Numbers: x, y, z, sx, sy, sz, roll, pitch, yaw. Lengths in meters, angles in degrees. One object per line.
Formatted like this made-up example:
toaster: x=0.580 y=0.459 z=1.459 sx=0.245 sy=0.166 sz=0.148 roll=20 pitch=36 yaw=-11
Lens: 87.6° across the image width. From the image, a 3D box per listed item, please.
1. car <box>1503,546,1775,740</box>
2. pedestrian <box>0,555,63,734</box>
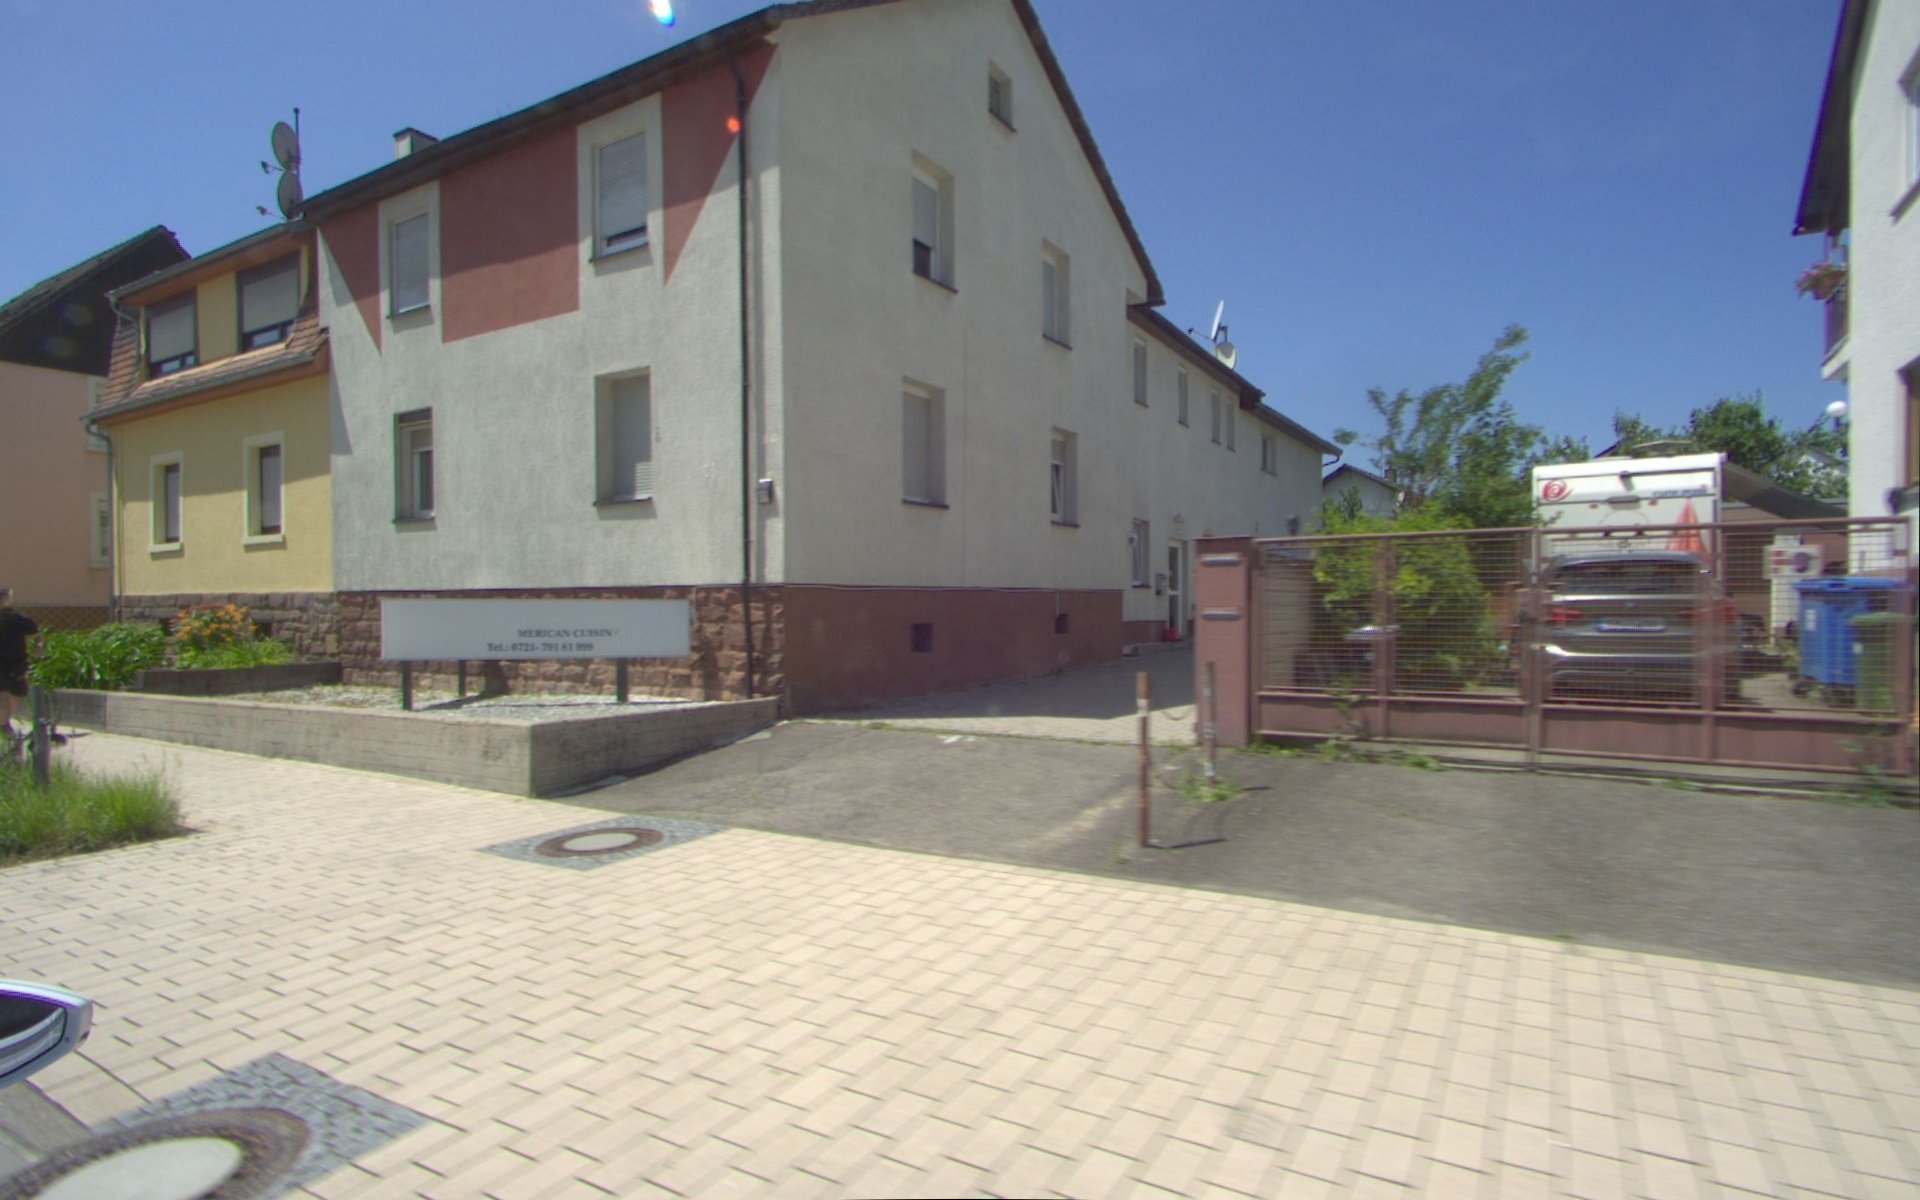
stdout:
car: x=6.996 y=0.358 z=10.593 sx=1.971 sy=1.625 sz=3.978 roll=-2 pitch=0 yaw=31
pedestrian: x=-11.265 y=0.525 z=11.816 sx=1.019 sy=2.039 sz=0.745 roll=-2 pitch=-2 yaw=33
